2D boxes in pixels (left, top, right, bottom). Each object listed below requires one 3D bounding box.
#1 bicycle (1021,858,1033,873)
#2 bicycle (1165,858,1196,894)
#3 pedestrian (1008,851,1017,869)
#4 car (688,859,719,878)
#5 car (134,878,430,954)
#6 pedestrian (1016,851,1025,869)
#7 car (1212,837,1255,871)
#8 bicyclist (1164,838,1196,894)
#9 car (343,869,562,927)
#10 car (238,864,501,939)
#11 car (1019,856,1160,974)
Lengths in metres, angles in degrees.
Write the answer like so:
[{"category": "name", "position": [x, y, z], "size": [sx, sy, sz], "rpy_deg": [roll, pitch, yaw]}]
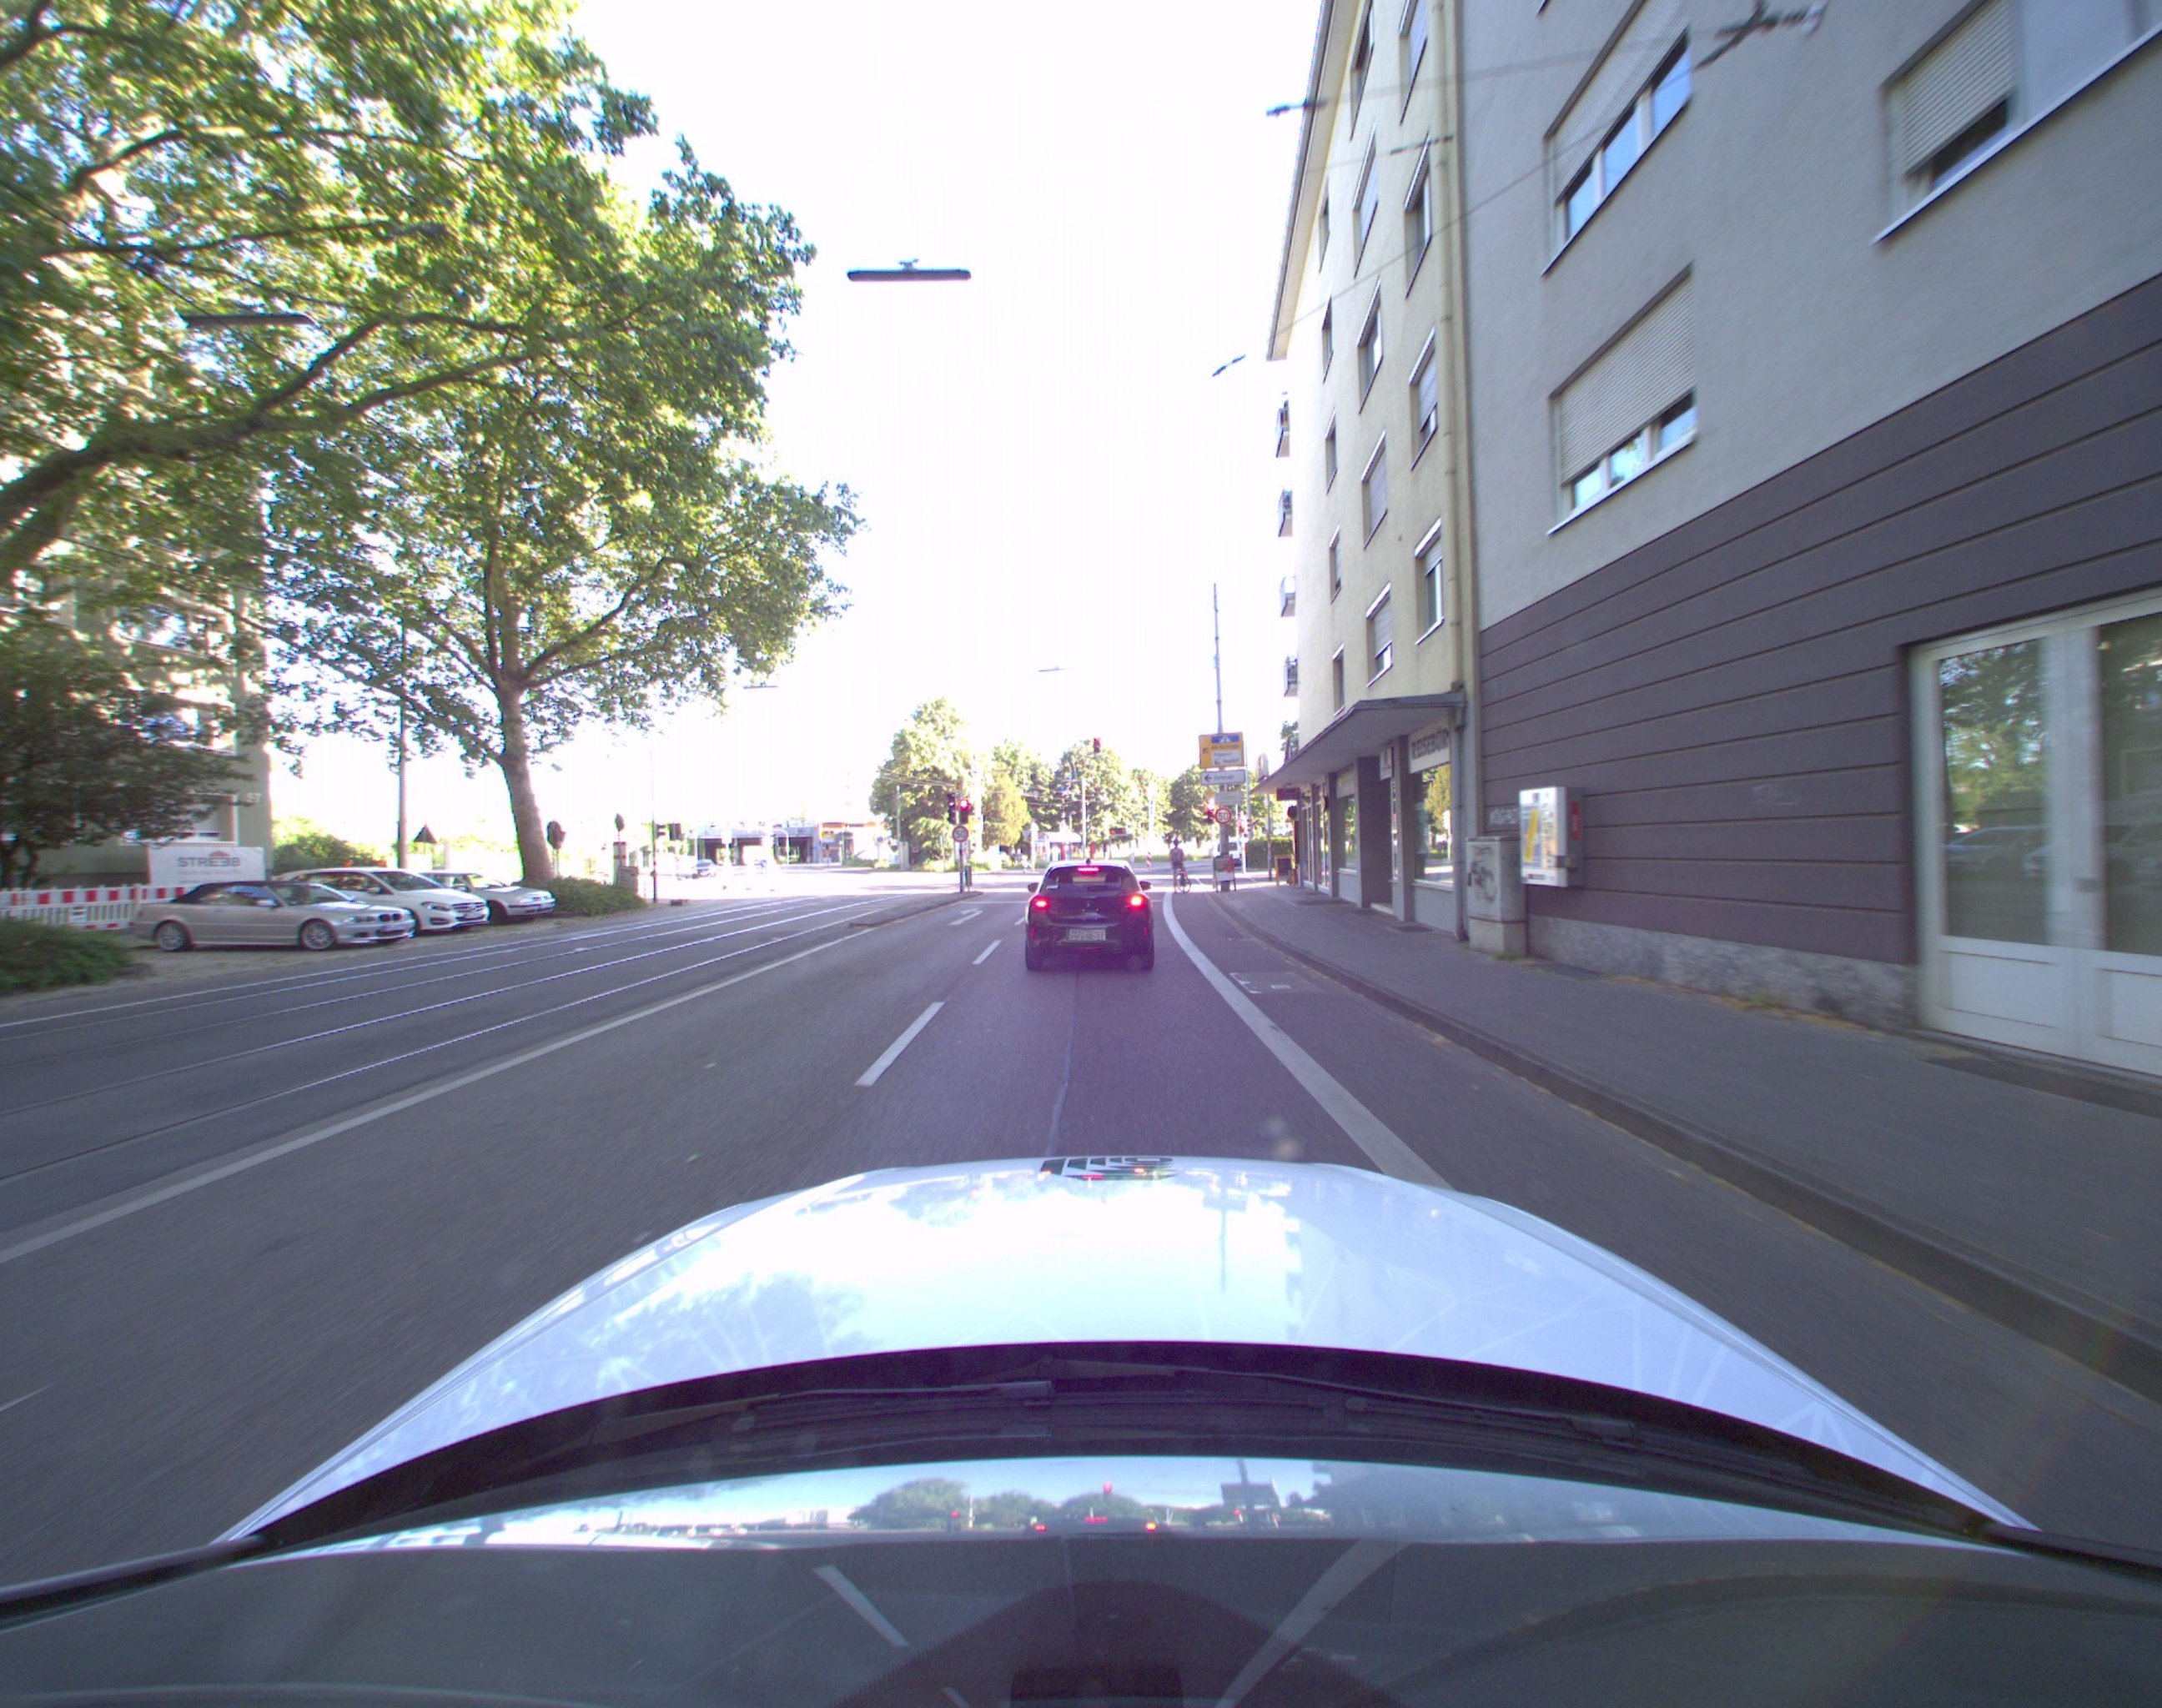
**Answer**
[{"category": "bicycle", "position": [-3.797, 0.805, 56.976], "size": [0.603, 1.031, 1.983], "rpy_deg": [-1, 0, 2]}, {"category": "bicycle", "position": [3.413, 0.742, 28.116], "size": [0.857, 1.153, 2.173], "rpy_deg": [-2, 0, 2]}, {"category": "pedestrian", "position": [-6.262, 0.539, 74.443], "size": [0.746, 1.630, 0.599], "rpy_deg": [0, -1, 9]}, {"category": "car", "position": [-30.737, 1.158, 66.456], "size": [1.830, 1.519, 3.870], "rpy_deg": [1, -1, -18]}, {"category": "car", "position": [-15.924, 1.208, 16.401], "size": [4.227, 1.368, 1.728], "rpy_deg": [0, 0, 0]}, {"category": "pedestrian", "position": [-5.529, 0.544, 74.371], "size": [0.633, 1.630, 0.573], "rpy_deg": [0, -1, 9]}, {"category": "car", "position": [10.655, -0.021, 56.560], "size": [2.046, 2.248, 4.912], "rpy_deg": [-1, 0, 20]}, {"category": "bicyclist", "position": [3.400, 0.407, 28.070], "size": [0.938, 1.851, 0.864], "rpy_deg": [-2, 0, 1]}, {"category": "car", "position": [-16.601, 1.144, 21.652], "size": [4.496, 1.429, 1.676], "rpy_deg": [0, 0, 1]}, {"category": "car", "position": [-16.594, 1.072, 19.149], "size": [4.593, 1.618, 1.799], "rpy_deg": [0, 0, 1]}, {"category": "car", "position": [0.183, 0.758, 12.113], "size": [1.720, 1.429, 4.189], "rpy_deg": [-1, 0, 2]}]
